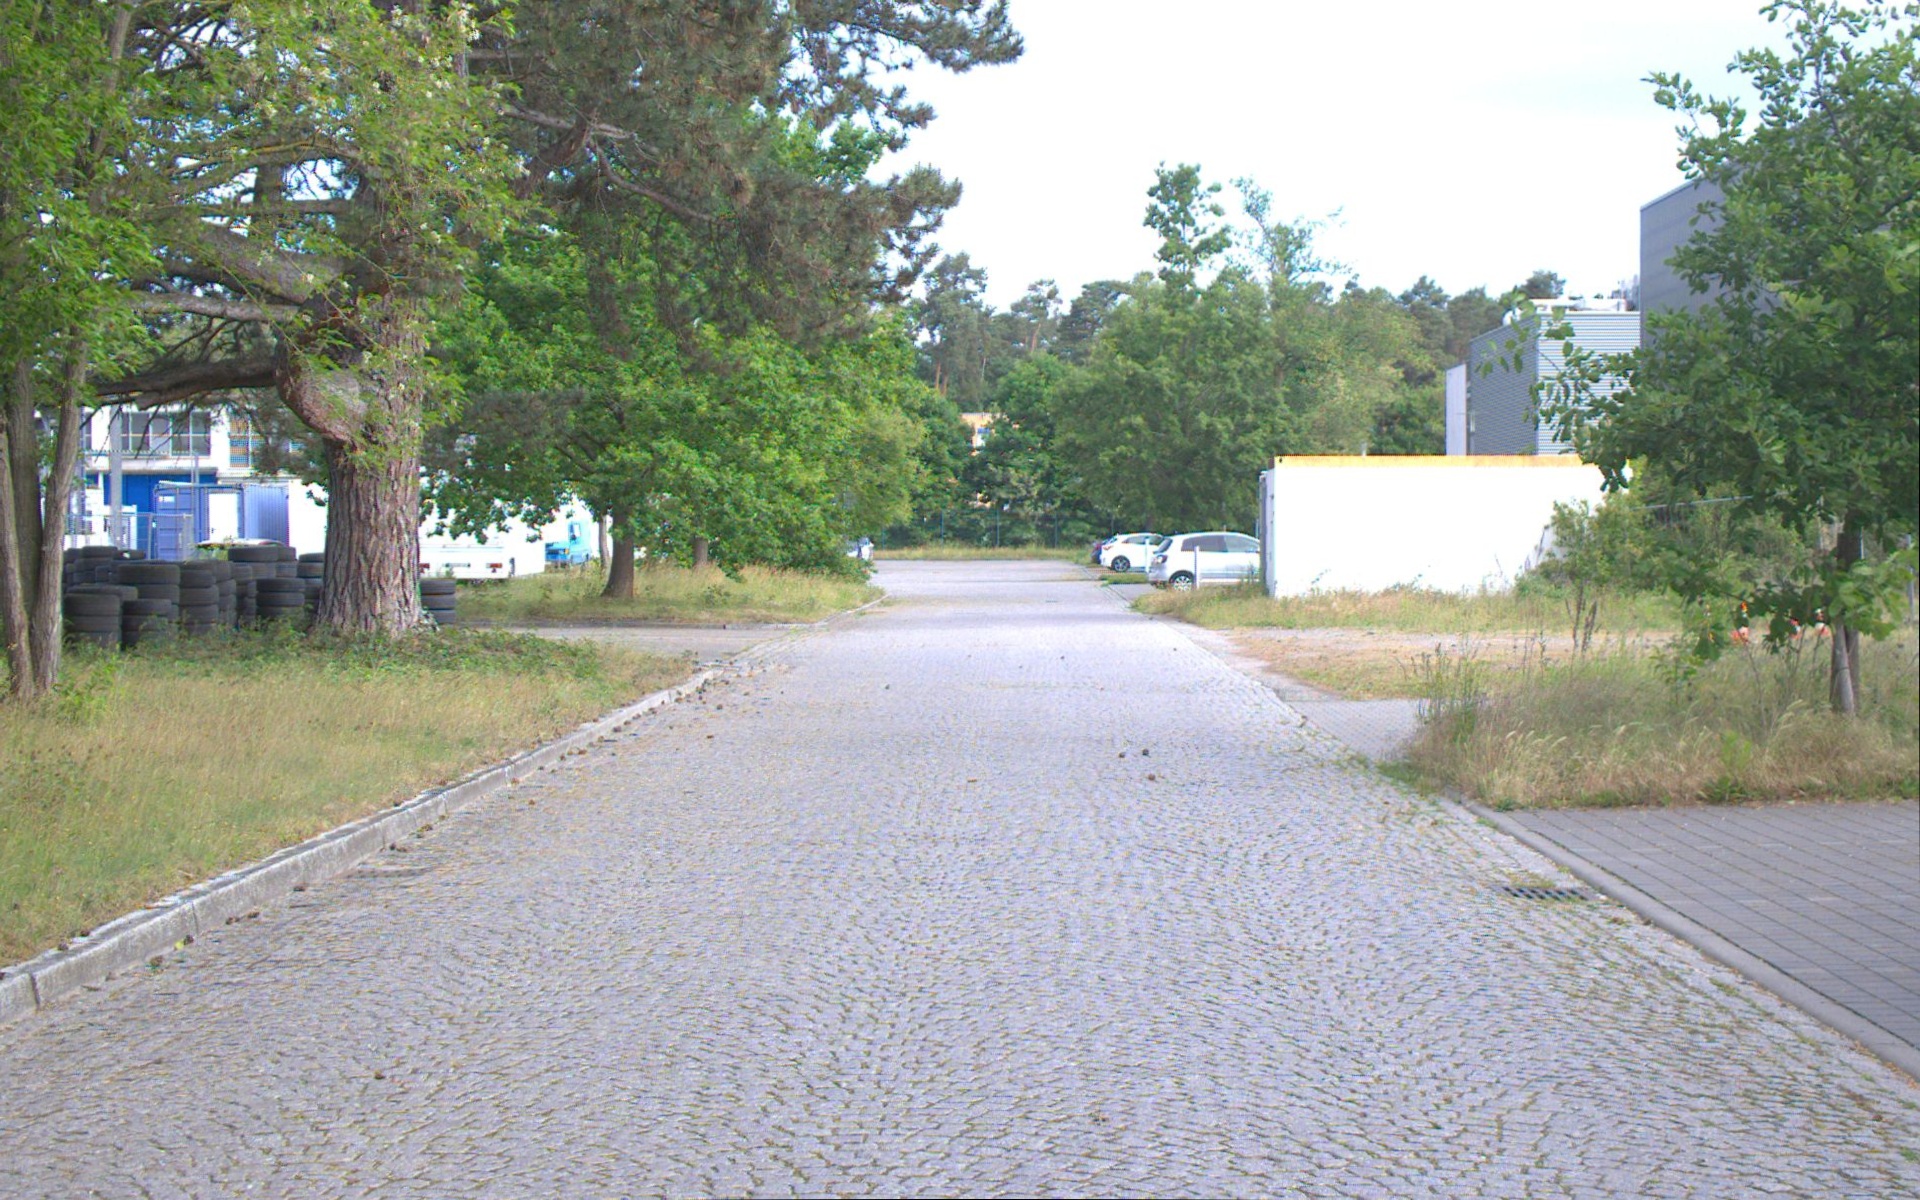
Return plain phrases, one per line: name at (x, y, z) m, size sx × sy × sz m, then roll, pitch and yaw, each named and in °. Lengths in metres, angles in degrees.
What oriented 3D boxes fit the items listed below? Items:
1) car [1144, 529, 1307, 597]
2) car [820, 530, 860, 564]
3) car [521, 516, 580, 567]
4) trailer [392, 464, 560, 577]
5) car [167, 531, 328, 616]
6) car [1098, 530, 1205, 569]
car at (6.520, -0.915, 84.667) m, size 3.849 × 1.649 × 1.686 m, roll 0°, pitch 1°, yaw -2°
car at (-5.230, -2.318, 150.114) m, size 1.735 × 1.464 × 4.046 m, roll 0°, pitch 1°, yaw -1°
car at (-16.475, -2.361, 138.492) m, size 1.925 × 2.040 × 4.601 m, roll 0°, pitch 1°, yaw -1°
trailer at (-13.663, -2.244, 97.729) m, size 3.159 × 3.057 × 8.783 m, roll 0°, pitch 1°, yaw 3°
car at (-12.446, -0.481, 60.269) m, size 1.767 × 1.448 × 3.487 m, roll 0°, pitch 1°, yaw 6°
car at (7.288, -1.930, 130.804) m, size 4.025 × 1.496 × 1.548 m, roll 0°, pitch 1°, yaw 2°
